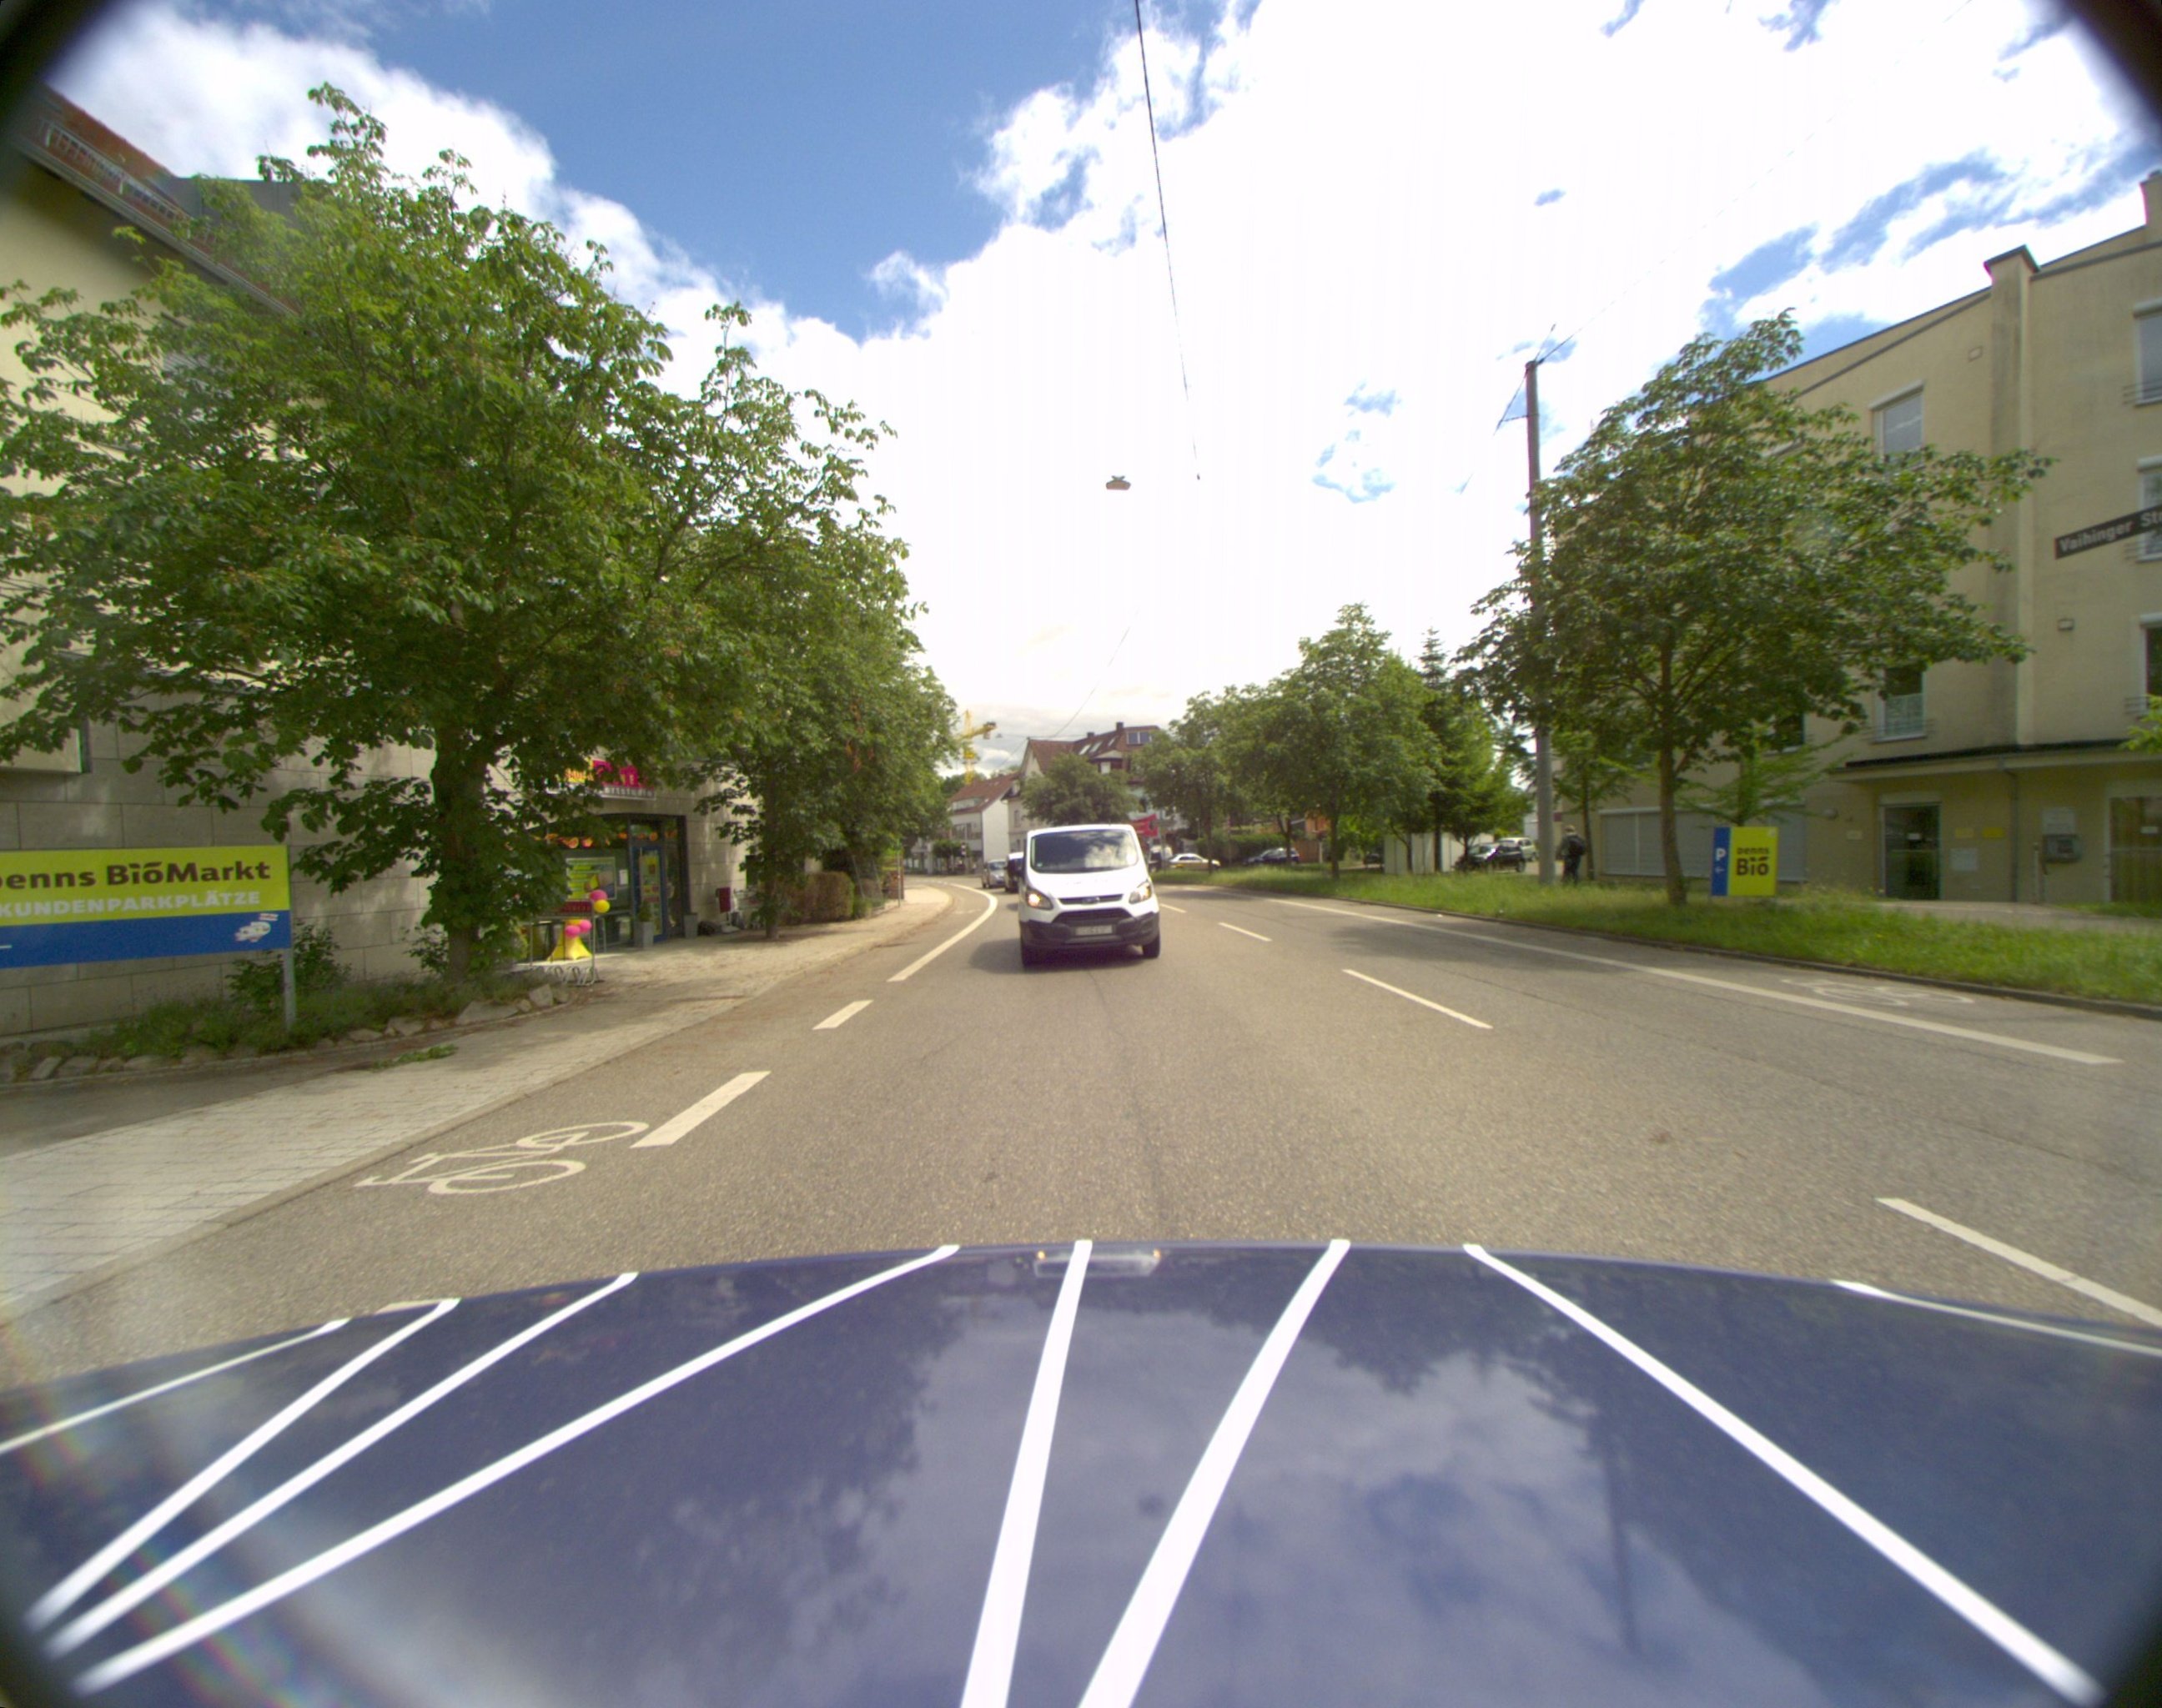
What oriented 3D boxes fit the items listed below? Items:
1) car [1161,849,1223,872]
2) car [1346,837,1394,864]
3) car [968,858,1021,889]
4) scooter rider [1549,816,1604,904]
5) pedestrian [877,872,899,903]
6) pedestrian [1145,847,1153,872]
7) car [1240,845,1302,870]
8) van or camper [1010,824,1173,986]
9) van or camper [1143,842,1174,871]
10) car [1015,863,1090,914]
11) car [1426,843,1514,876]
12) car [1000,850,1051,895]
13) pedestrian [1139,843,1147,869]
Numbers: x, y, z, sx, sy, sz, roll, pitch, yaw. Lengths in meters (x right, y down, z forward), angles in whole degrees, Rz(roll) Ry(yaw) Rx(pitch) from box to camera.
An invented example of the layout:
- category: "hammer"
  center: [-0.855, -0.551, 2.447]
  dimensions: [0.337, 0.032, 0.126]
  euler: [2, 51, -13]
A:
- category: "car"
  center: [7.995, 0.472, 54.689]
  dimensions: [4.047, 1.314, 1.534]
  euler: [-5, 1, -16]
- category: "car"
  center: [23.137, -0.292, 60.753]
  dimensions: [4.008, 2.002, 1.976]
  euler: [-3, 0, -44]
- category: "car"
  center: [-4.814, 1.026, 41.756]
  dimensions: [1.696, 1.477, 3.992]
  euler: [-5, 1, -23]
- category: "scooter rider"
  center: [11.873, 0.138, 18.231]
  dimensions: [0.678, 2.002, 0.794]
  euler: [-5, 2, -3]
- category: "pedestrian"
  center: [-8.259, 1.420, 32.563]
  dimensions: [0.731, 1.293, 0.753]
  euler: [-2, 1, -3]
- category: "pedestrian"
  center: [5.462, 0.445, 61.004]
  dimensions: [0.383, 1.979, 0.443]
  euler: [-5, 2, 0]
- category: "car"
  center: [13.761, 0.238, 55.188]
  dimensions: [3.977, 1.672, 1.716]
  euler: [-2, 1, -7]
- category: "van or camper"
  center: [-0.095, 0.646, 12.343]
  dimensions: [2.028, 2.002, 5.100]
  euler: [-2, 0, -6]
- category: "van or camper"
  center: [5.932, 0.168, 58.848]
  dimensions: [1.794, 2.077, 3.810]
  euler: [-5, 1, -1]
- category: "car"
  center: [-0.979, 1.025, 24.028]
  dimensions: [1.841, 1.382, 3.997]
  euler: [-2, 0, -9]
- category: "car"
  center: [17.939, 0.248, 34.999]
  dimensions: [4.007, 1.411, 1.789]
  euler: [0, -1, -33]
- category: "car"
  center: [-2.600, 0.783, 34.878]
  dimensions: [1.853, 1.805, 3.996]
  euler: [-5, 1, -9]
- category: "pedestrian"
  center: [4.976, 0.149, 60.932]
  dimensions: [0.425, 2.002, 0.363]
  euler: [-5, 2, 0]
